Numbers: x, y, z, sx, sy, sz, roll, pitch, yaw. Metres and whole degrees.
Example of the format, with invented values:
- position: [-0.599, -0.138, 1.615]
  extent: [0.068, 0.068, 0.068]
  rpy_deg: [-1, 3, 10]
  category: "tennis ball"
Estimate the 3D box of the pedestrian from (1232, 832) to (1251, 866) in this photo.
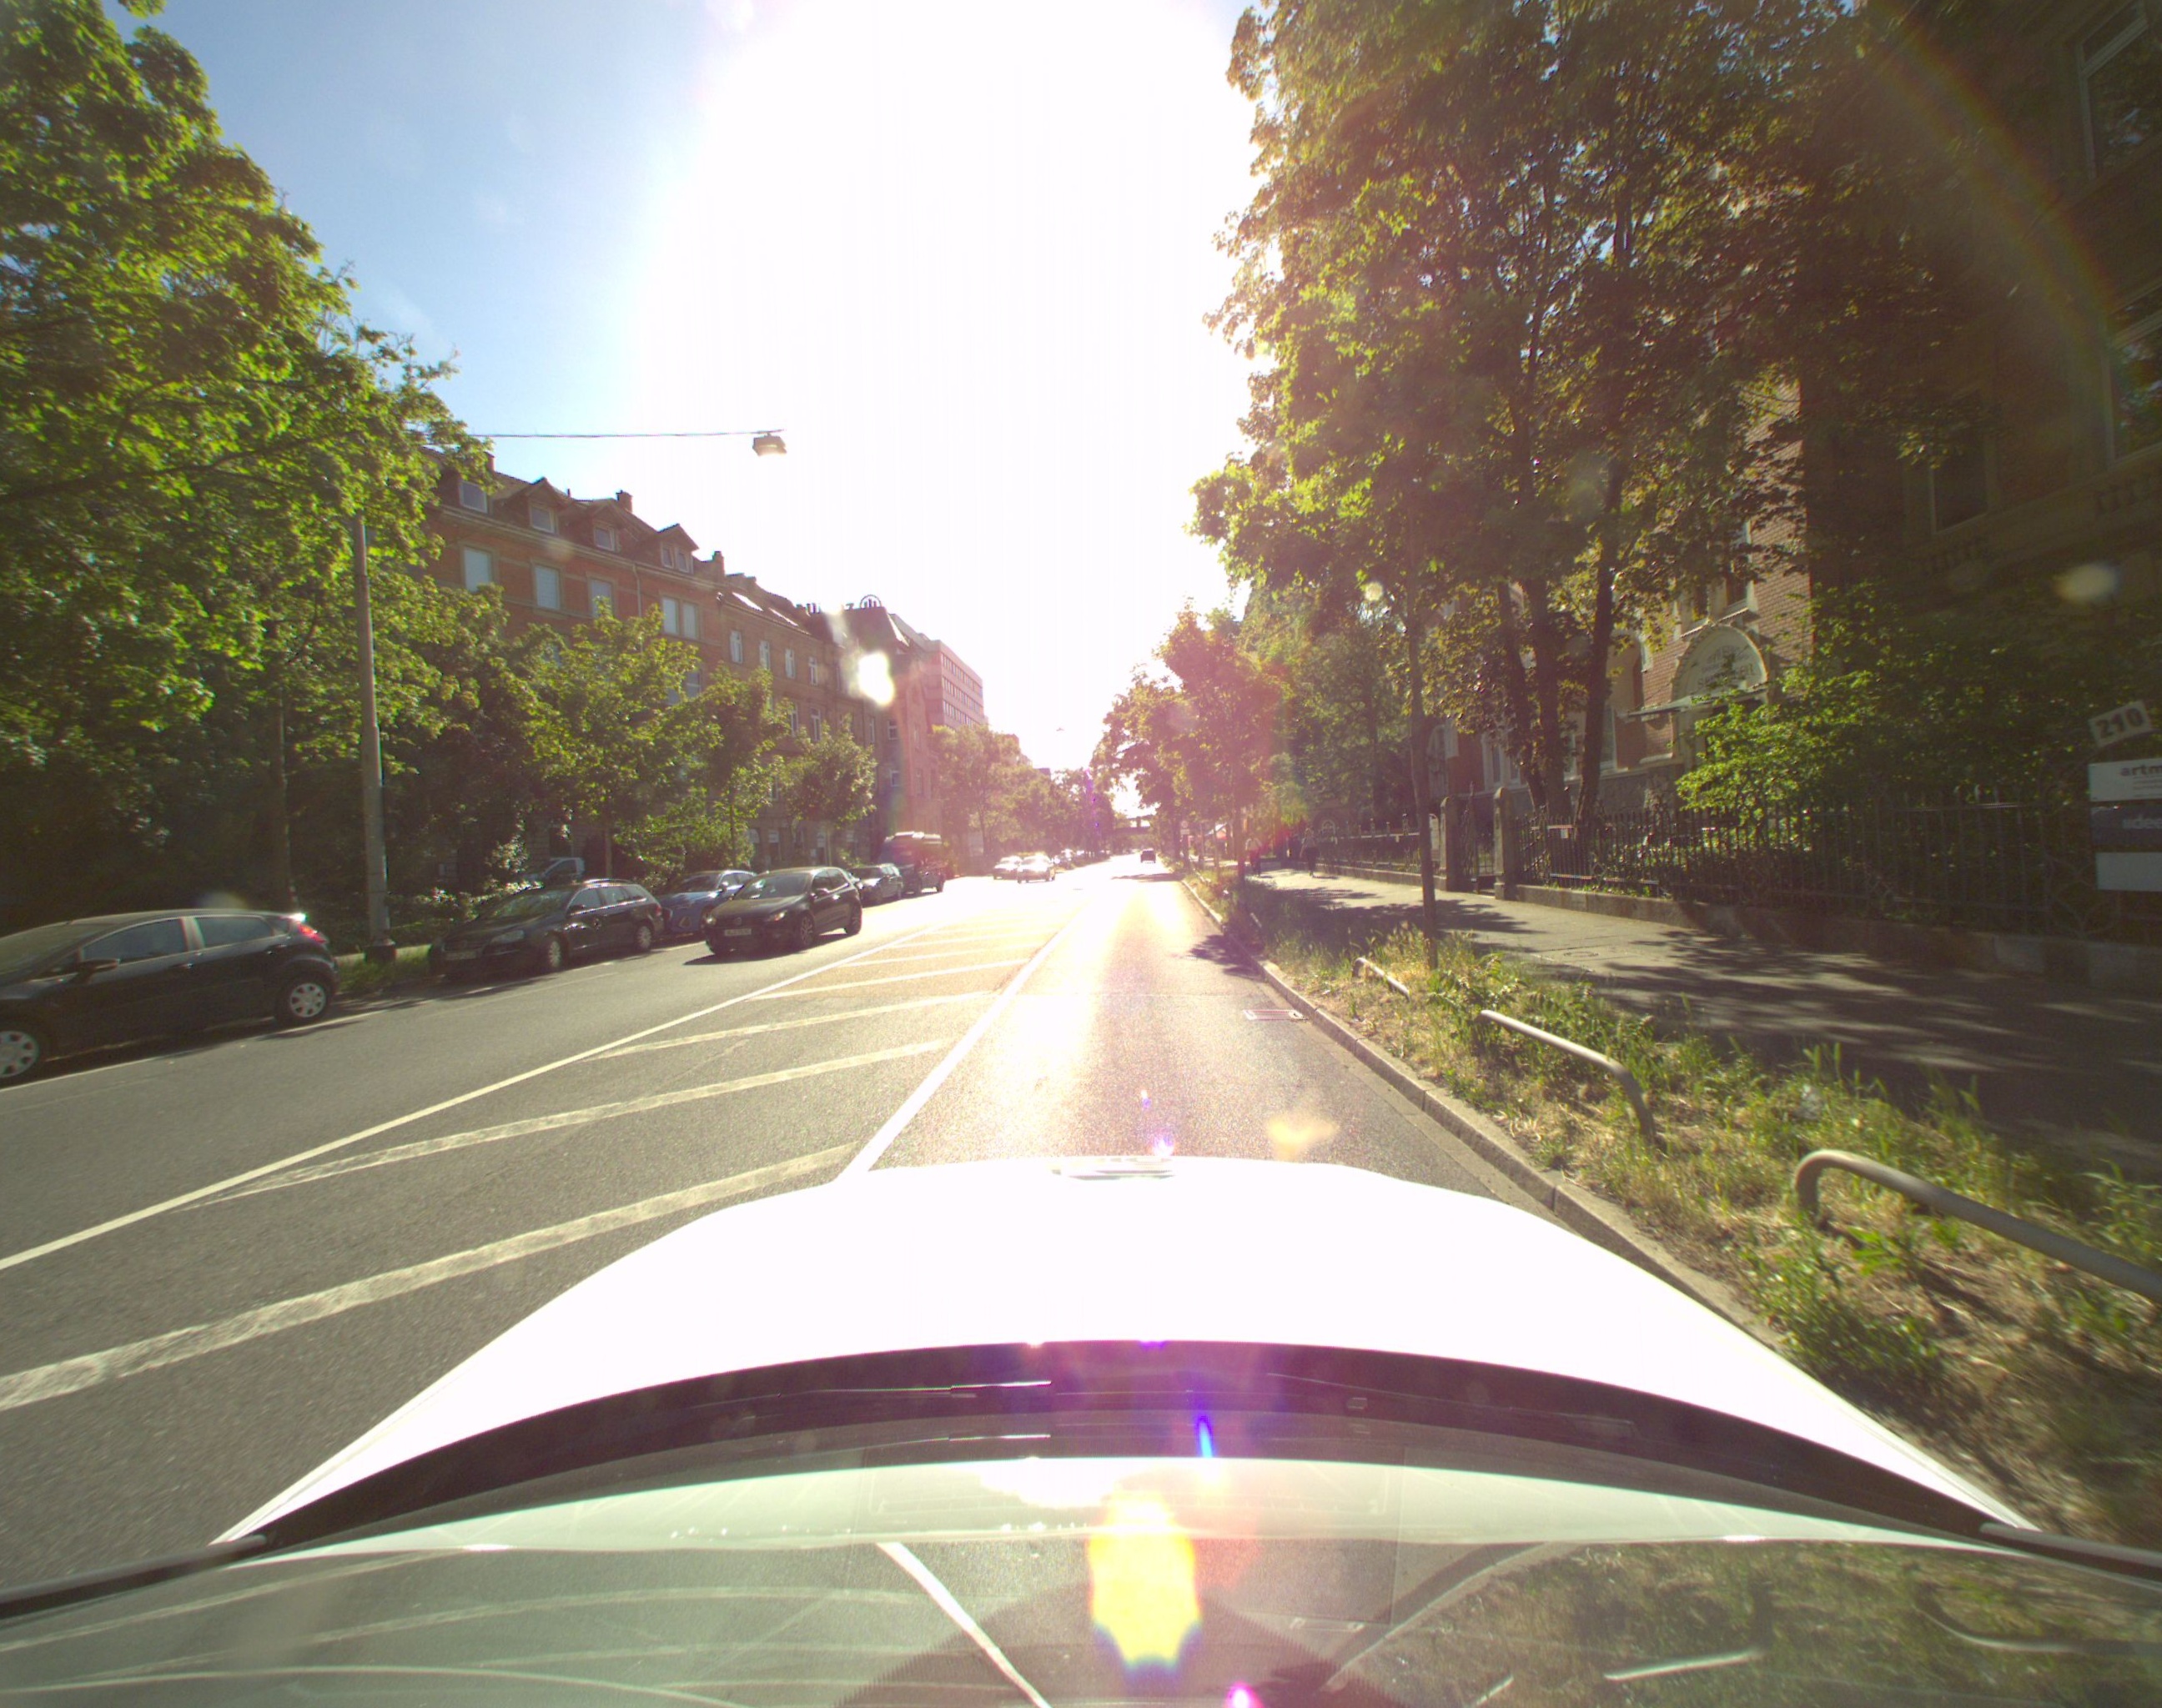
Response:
- position: [8.806, -0.268, 44.752]
  extent: [0.741, 1.787, 0.815]
  rpy_deg: [-6, 0, 18]
  category: "pedestrian"

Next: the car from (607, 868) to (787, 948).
- position: [-9.155, 1.205, 19.929]
  extent: [1.771, 1.538, 4.567]
  rpy_deg: [-3, 0, 6]
  category: "car"

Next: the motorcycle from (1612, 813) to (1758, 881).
- position: [10.725, -0.113, 14.537]
  extent: [1.862, 1.031, 0.784]
  rpy_deg: [-5, -1, 13]
  category: "motorcycle"

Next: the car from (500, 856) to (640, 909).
- position: [-21.045, 1.129, 33.732]
  extent: [1.841, 1.914, 4.479]
  rpy_deg: [-5, -2, 29]
  category: "car"

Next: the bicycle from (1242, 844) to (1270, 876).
- position: [6.958, 0.220, 32.412]
  extent: [0.614, 1.176, 1.919]
  rpy_deg: [-7, 0, 1]
  category: "bicycle"

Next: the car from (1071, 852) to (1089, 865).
- position: [-0.083, 0.481, 98.160]
  extent: [1.703, 1.458, 4.079]
  rpy_deg: [-2, 0, 6]
  category: "car"

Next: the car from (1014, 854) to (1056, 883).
- position: [-2.483, 0.773, 44.995]
  extent: [1.911, 1.419, 4.227]
  rpy_deg: [-2, 0, 2]
  category: "car"

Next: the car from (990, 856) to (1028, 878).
- position: [-5.024, 0.889, 57.424]
  extent: [1.846, 1.427, 4.727]
  rpy_deg: [0, 0, 6]
  category: "car"

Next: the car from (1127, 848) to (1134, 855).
- position: [14.076, -0.663, 232.624]
  extent: [1.848, 1.825, 4.614]
  rpy_deg: [-5, 0, 4]
  category: "car"

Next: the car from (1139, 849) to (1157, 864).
- position: [7.721, 0.237, 94.267]
  extent: [1.976, 1.600, 4.144]
  rpy_deg: [-3, 0, 3]
  category: "car"

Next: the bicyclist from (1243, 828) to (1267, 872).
- position: [6.913, -0.159, 32.426]
  extent: [0.618, 1.690, 0.820]
  rpy_deg: [-7, 0, 1]
  category: "bicyclist"

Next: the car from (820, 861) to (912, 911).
- position: [-7.810, 1.109, 30.089]
  extent: [1.686, 1.456, 4.670]
  rpy_deg: [-5, 0, 5]
  category: "car"

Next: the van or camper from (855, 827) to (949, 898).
- position: [-7.757, 0.324, 36.013]
  extent: [2.206, 2.739, 6.096]
  rpy_deg: [-3, 0, 5]
  category: "van or camper"

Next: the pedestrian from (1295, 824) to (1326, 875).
- position: [7.859, -0.149, 27.870]
  extent: [0.691, 1.658, 0.821]
  rpy_deg: [-6, -1, 4]
  category: "pedestrian"

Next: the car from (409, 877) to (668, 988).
- position: [-9.407, 1.264, 14.632]
  extent: [1.584, 1.482, 4.273]
  rpy_deg: [-5, -1, 2]
  category: "car"

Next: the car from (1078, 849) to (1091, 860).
- position: [0.631, 0.020, 146.547]
  extent: [1.847, 1.850, 4.567]
  rpy_deg: [-2, 0, 4]
  category: "car"

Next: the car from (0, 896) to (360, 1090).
- position: [-9.948, 1.337, 8.240]
  extent: [1.457, 1.501, 3.964]
  rpy_deg: [-5, 0, 5]
  category: "car"

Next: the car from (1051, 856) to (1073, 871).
- position: [-1.985, 0.972, 86.453]
  extent: [1.679, 1.383, 4.200]
  rpy_deg: [-2, 0, 7]
  category: "car"

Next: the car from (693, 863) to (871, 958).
- position: [-5.645, 0.993, 15.958]
  extent: [1.585, 1.450, 4.139]
  rpy_deg: [-4, 0, 5]
  category: "car"
